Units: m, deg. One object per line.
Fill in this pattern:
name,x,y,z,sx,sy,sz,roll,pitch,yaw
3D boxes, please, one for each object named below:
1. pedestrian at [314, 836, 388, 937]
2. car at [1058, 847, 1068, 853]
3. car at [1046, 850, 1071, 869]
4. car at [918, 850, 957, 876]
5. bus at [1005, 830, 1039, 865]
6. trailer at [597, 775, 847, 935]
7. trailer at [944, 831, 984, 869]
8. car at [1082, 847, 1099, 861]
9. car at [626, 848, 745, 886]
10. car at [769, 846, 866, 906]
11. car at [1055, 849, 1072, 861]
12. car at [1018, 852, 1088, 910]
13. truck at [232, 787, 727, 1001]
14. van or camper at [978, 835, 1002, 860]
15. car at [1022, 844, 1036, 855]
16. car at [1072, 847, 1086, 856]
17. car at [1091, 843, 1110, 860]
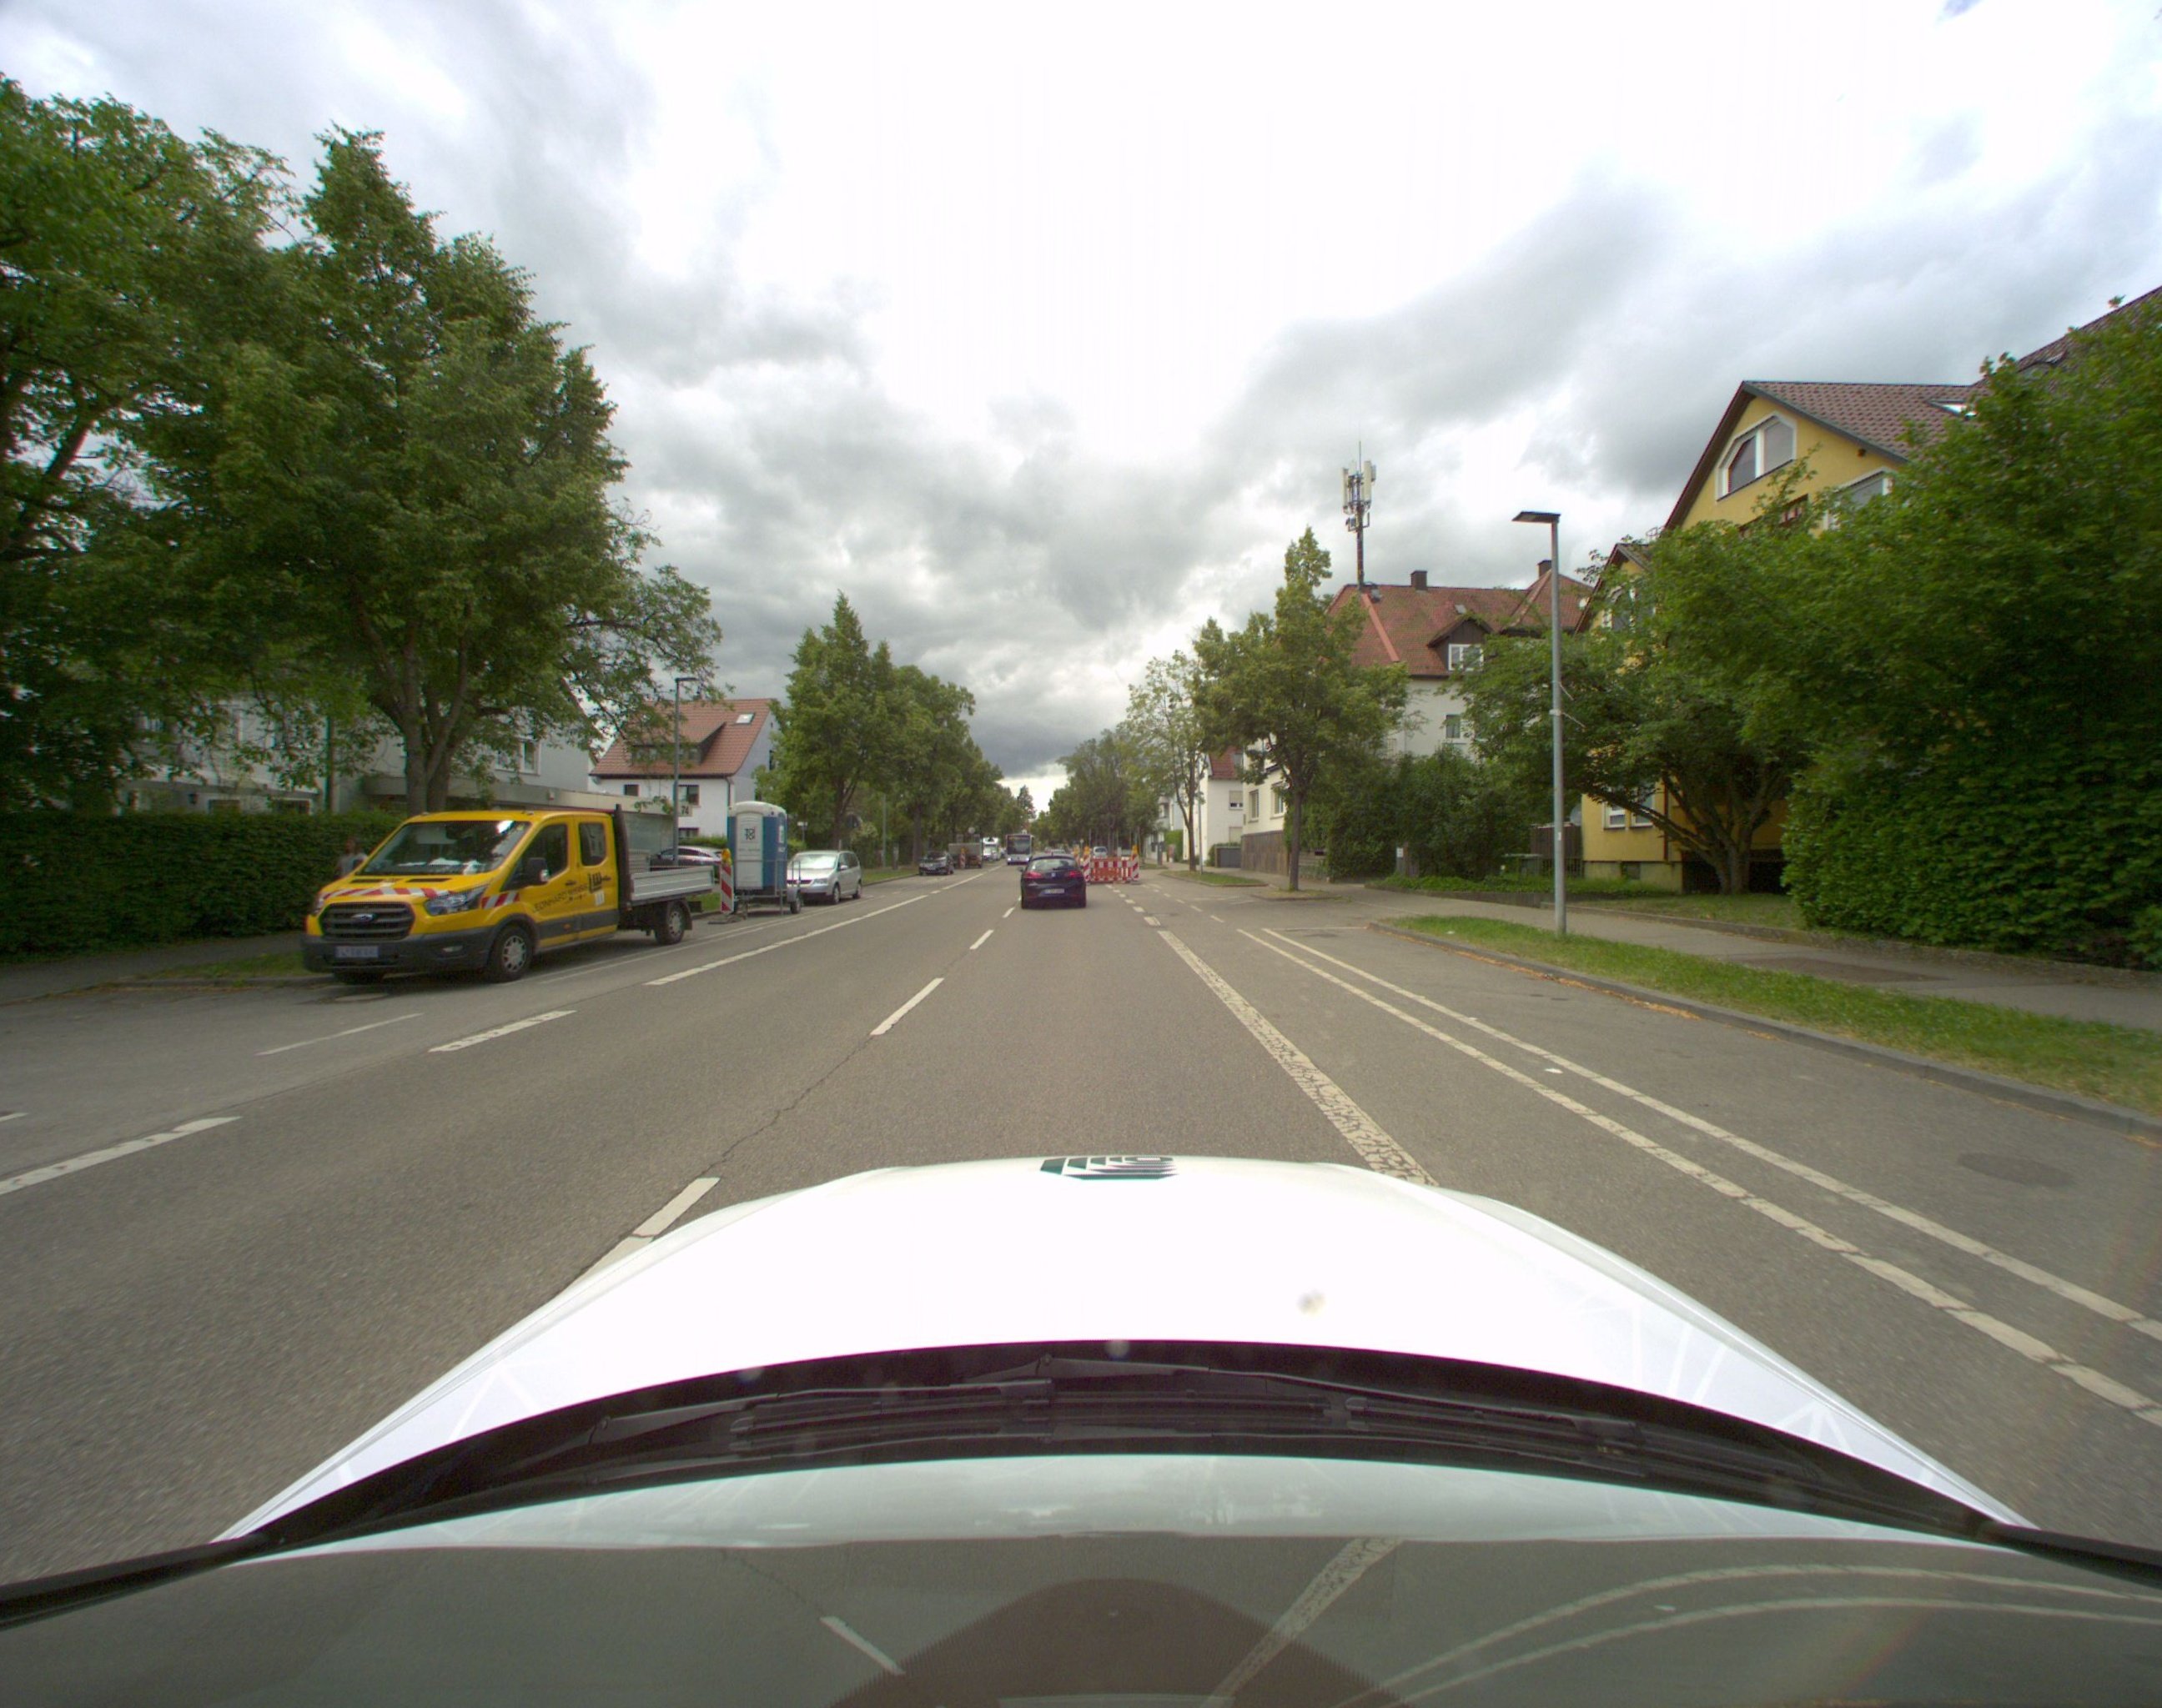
pedestrian,-12.967,0.563,14.478,0.638,1.742,0.722,0,0,2
car,-4.052,-0.909,183.662,1.682,1.432,4.033,-1,1,-8
car,-1.844,0.429,68.301,1.988,1.558,3.998,-1,0,-1
car,-9.006,0.606,51.506,1.856,1.553,4.615,0,-1,-3
bus,-6.105,-0.578,86.959,2.797,3.288,18.032,0,0,-2
trailer,-7.737,0.003,18.779,2.363,2.963,7.015,-1,0,2
trailer,-9.446,-0.279,66.490,2.668,2.941,7.466,0,0,-4
car,1.023,-0.008,90.679,1.683,1.493,4.222,-1,0,-3
car,-16.393,0.523,33.823,4.059,1.433,1.804,1,1,5
car,-8.000,0.626,25.102,1.684,1.684,4.223,0,0,-1
car,-2.217,0.095,102.361,1.990,1.530,3.994,-1,0,-5
car,-0.787,0.679,22.445,1.779,1.449,3.554,0,0,-3
truck,-7.926,0.415,12.053,2.286,2.287,6.467,-1,0,2
van or camper,-11.539,-0.802,103.952,2.429,3.009,7.685,-1,0,-3
car,-8.861,-0.762,139.029,1.988,1.667,4.587,-2,0,-1
car,-0.265,-0.358,128.541,2.016,1.443,5.020,0,0,-2
car,2.016,-0.280,84.954,1.629,1.665,3.644,-1,0,-3
